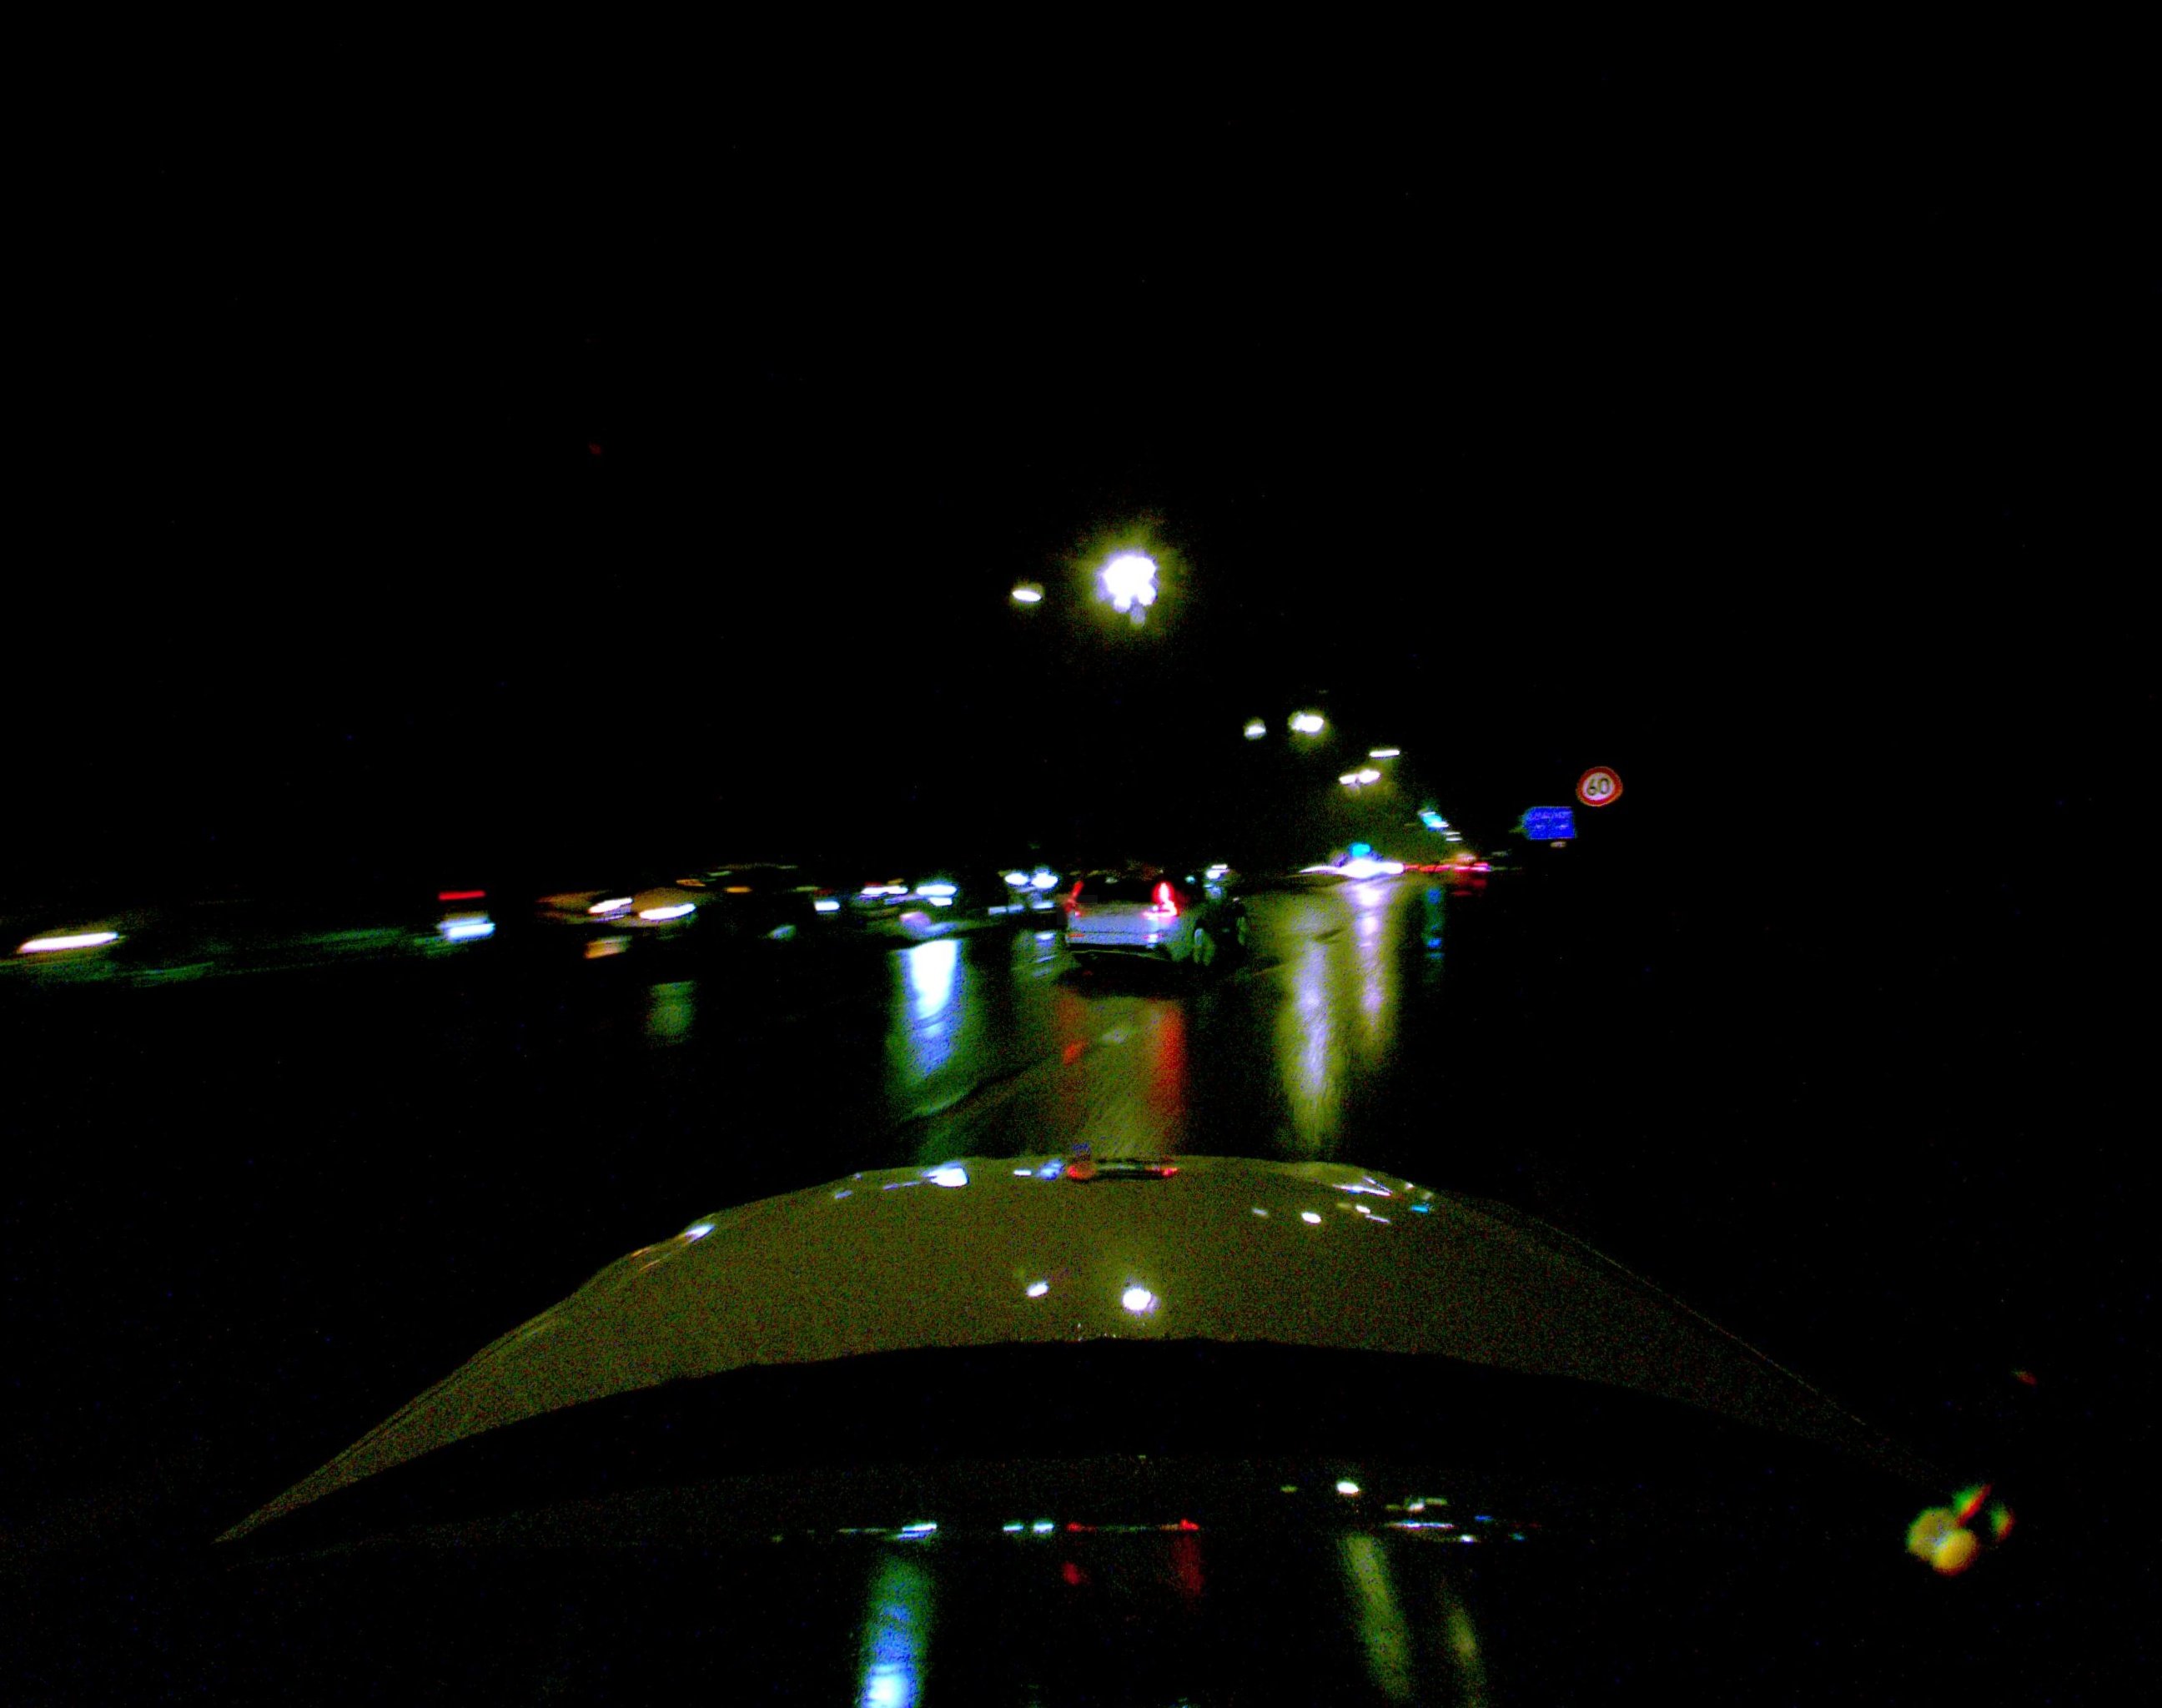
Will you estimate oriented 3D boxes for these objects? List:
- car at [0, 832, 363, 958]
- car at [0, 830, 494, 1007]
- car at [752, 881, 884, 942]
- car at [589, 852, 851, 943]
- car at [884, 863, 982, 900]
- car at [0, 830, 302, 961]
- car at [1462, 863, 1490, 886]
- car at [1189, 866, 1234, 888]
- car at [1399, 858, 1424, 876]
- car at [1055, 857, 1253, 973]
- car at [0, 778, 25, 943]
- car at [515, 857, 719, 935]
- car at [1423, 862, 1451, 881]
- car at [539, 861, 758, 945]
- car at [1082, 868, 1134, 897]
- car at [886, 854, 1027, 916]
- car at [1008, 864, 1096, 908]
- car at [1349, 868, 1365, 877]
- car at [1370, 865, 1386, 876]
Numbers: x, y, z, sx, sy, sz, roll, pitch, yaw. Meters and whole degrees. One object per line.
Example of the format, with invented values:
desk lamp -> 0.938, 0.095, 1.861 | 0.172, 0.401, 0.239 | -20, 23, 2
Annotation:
car -> -12.805, 0.540, 11.142 | 1.696, 1.487, 4.082 | -1, -3, 30
car -> -9.923, 0.644, 10.070 | 1.743, 1.725, 3.924 | 0, -1, 26
car -> -8.647, 1.844, 27.203 | 1.743, 1.848, 4.148 | 0, -3, 26
car -> -6.682, 0.741, 15.641 | 1.760, 1.484, 4.438 | 0, -1, 28
car -> -5.832, 1.074, 32.591 | 1.743, 1.377, 4.063 | 0, -1, 26
car -> -15.651, 0.592, 12.955 | 1.743, 1.848, 4.309 | 2, -1, 26
car -> 32.651, 1.736, 67.453 | 1.893, 1.601, 4.021 | 5, -1, 24
car -> 10.106, 1.753, 62.715 | 1.865, 1.530, 4.458 | 2, -1, 30
car -> 35.561, 1.447, 87.617 | 2.158, 1.601, 4.022 | 5, -1, 26
car -> 1.338, 0.796, 12.701 | 1.780, 1.452, 4.292 | 1, 0, 24
car -> -20.404, 0.012, 12.059 | 2.228, 2.710, 5.643 | 1, -1, 40
car -> -11.838, 1.053, 21.113 | 1.782, 1.799, 4.274 | 0, -3, 26
car -> 35.980, 1.775, 82.235 | 2.158, 1.601, 4.023 | 5, -1, 28
car -> -9.537, 1.046, 18.329 | 1.782, 1.666, 3.999 | 0, -3, 26
car -> 1.697, 1.684, 49.278 | 1.479, 1.602, 4.170 | 0, -1, 27
car -> -3.389, 0.848, 23.020 | 1.796, 1.578, 4.330 | -1, -1, 26
car -> -1.138, 1.322, 34.520 | 1.782, 1.666, 4.513 | 2, 0, 26
car -> 39.028, 2.642, 115.120 | 1.628, 1.203, 3.635 | 0, -1, 26
car -> 40.103, 2.273, 109.867 | 1.574, 1.427, 3.370 | 0, -1, 28
